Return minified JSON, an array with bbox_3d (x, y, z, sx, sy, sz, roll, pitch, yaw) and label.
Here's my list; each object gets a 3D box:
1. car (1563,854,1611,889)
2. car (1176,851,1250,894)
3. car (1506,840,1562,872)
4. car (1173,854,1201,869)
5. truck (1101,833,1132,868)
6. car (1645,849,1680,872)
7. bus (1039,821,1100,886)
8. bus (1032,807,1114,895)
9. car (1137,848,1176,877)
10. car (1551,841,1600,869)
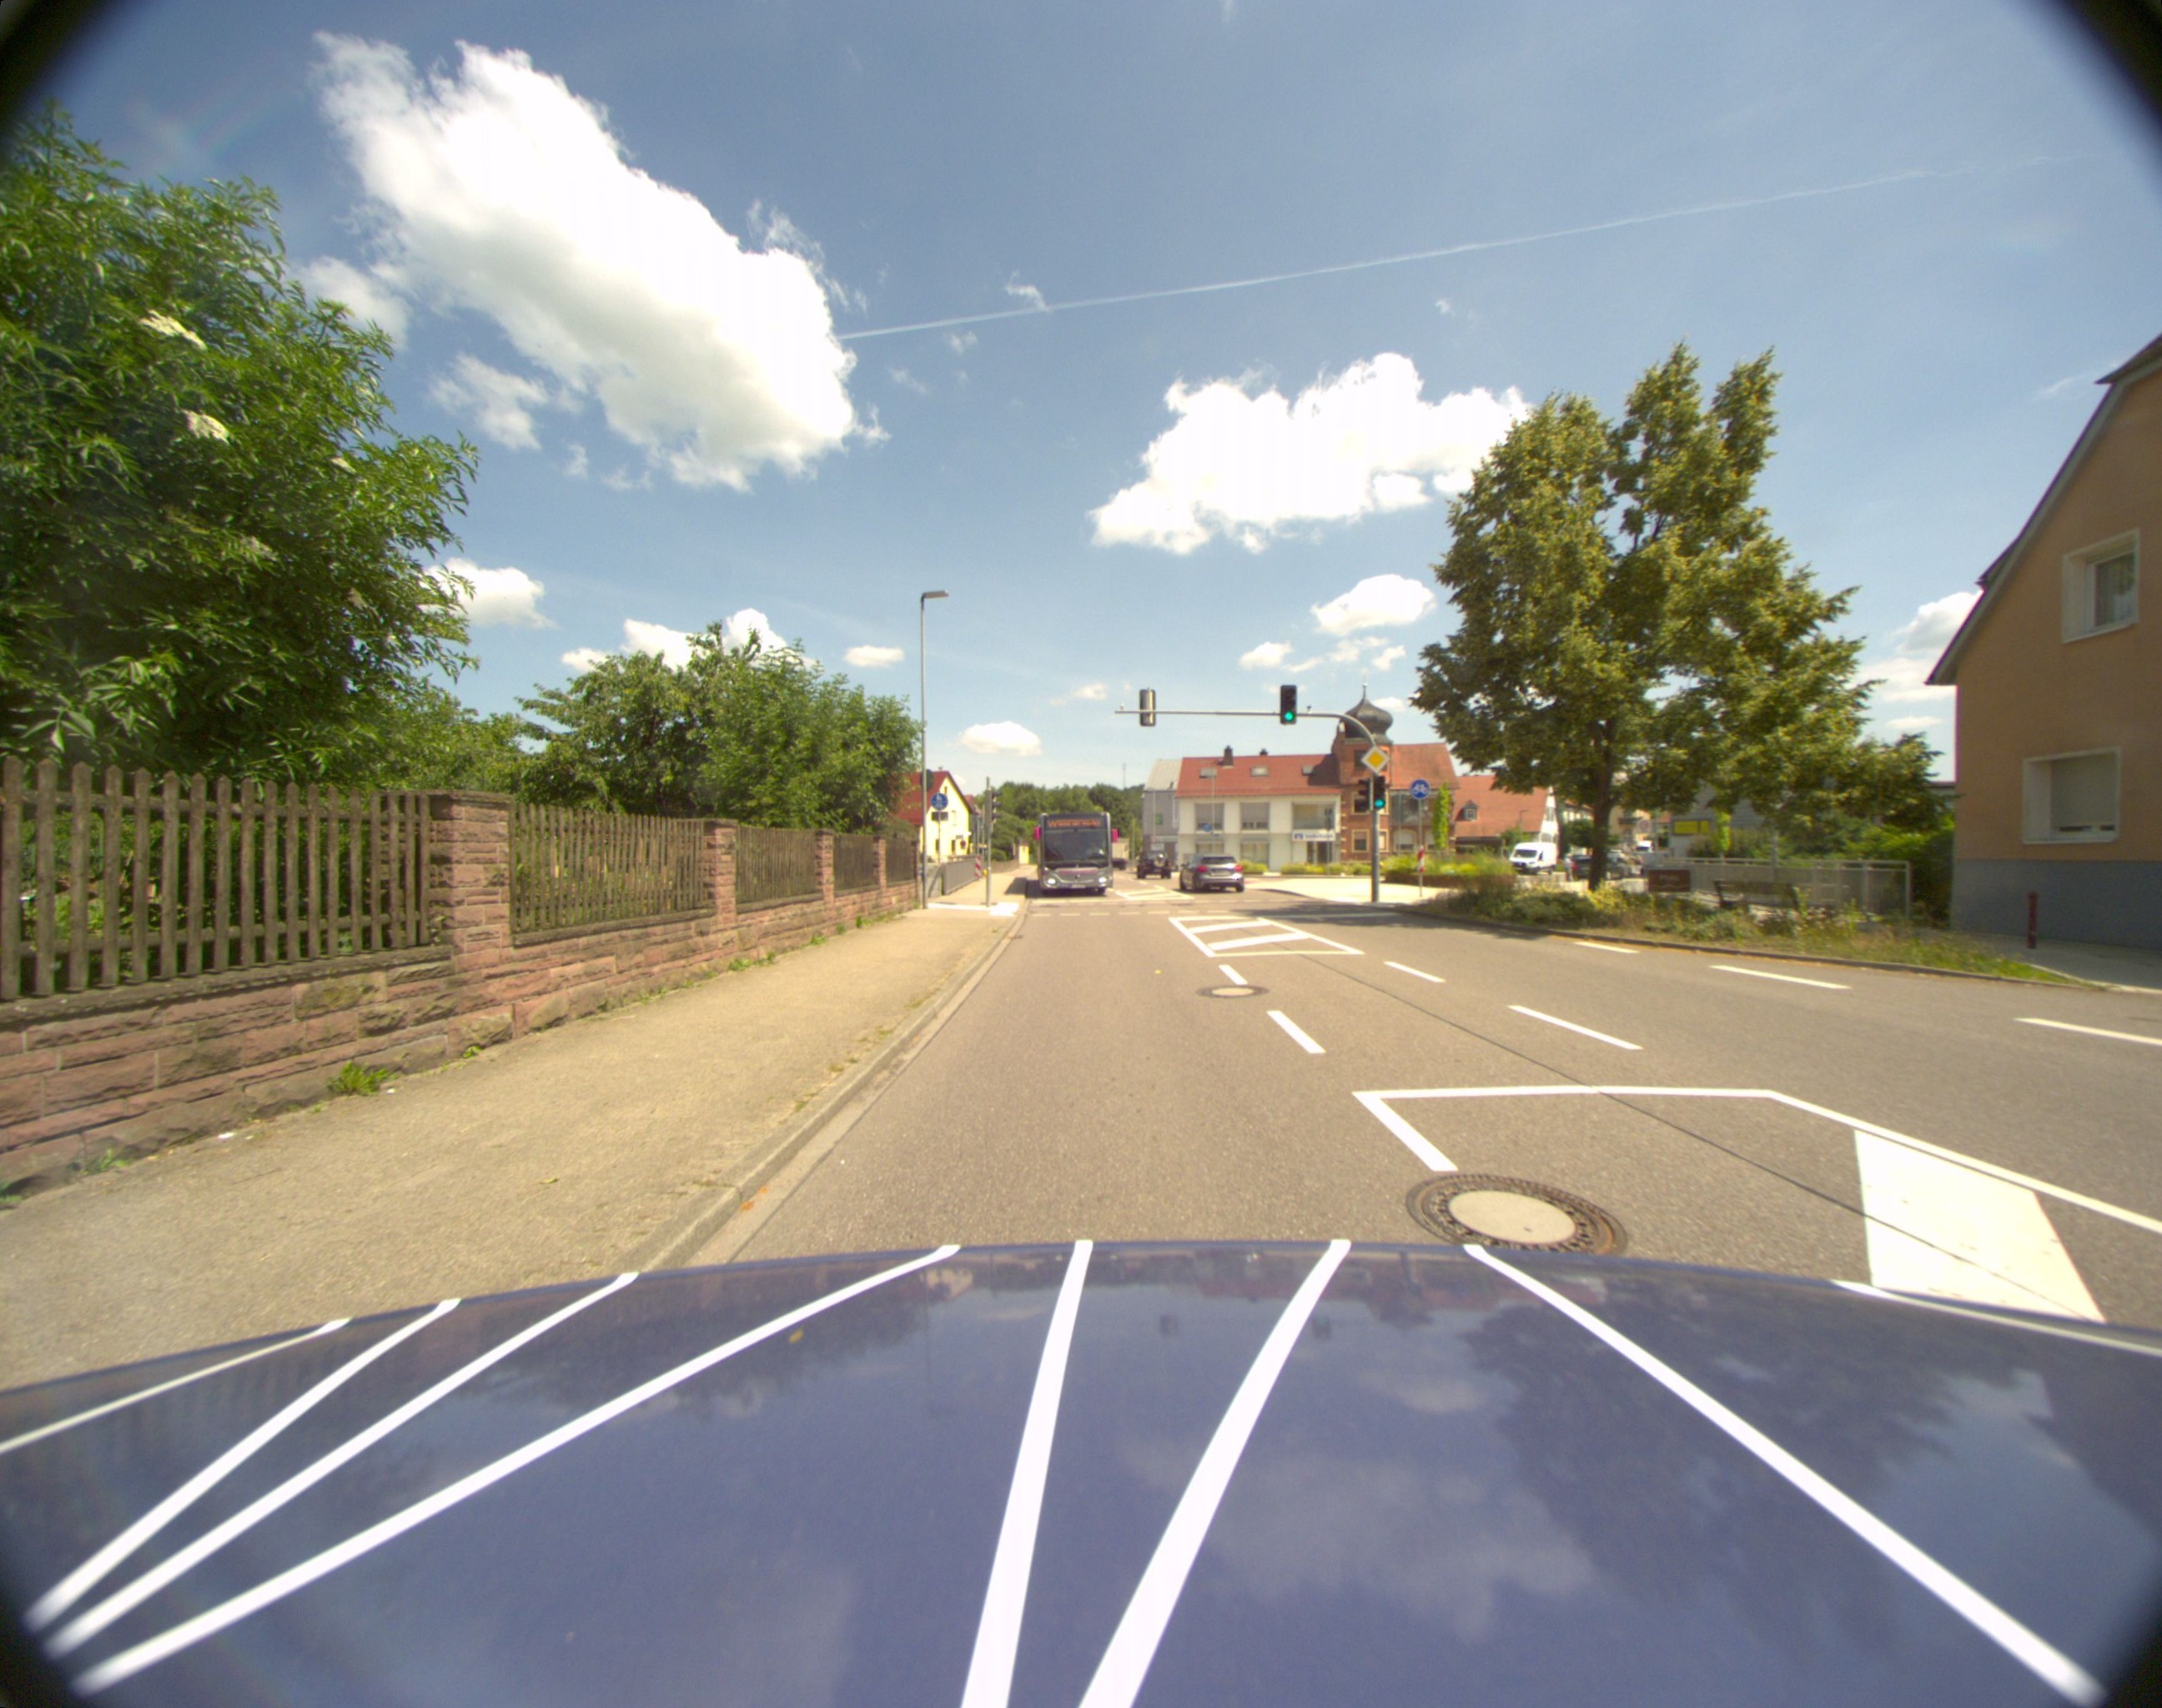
[{"bbox_3d":[30.429,1.020,45.639,1.994,2.002,4.009,1,0,40],"label":"car"},{"bbox_3d":[4.878,0.637,28.633,1.868,1.434,4.215,1,1,-2],"label":"car"},{"bbox_3d":[34.890,0.126,58.485,5.122,2.332,2.167,0,2,-41],"label":"car"},{"bbox_3d":[11.041,0.761,79.090,1.995,1.565,4.259,1,0,19],"label":"car"},{"bbox_3d":[3.384,-0.409,74.095,2.509,3.217,6.037,1,1,-2],"label":"truck"},{"bbox_3d":[46.787,0.484,61.071,2.063,1.718,4.008,2,1,39],"label":"car"},{"bbox_3d":[-0.668,0.101,39.806,2.756,2.949,9.281,1,-1,-2],"label":"bus"},{"bbox_3d":[-0.407,0.015,30.475,2.756,2.949,9.281,1,-1,-2],"label":"bus"},{"bbox_3d":[4.379,0.479,44.470,1.744,1.641,3.667,0,0,-4],"label":"car"},{"bbox_3d":[43.089,0.031,66.148,5.122,2.332,2.167,0,2,-41],"label":"car"}]
